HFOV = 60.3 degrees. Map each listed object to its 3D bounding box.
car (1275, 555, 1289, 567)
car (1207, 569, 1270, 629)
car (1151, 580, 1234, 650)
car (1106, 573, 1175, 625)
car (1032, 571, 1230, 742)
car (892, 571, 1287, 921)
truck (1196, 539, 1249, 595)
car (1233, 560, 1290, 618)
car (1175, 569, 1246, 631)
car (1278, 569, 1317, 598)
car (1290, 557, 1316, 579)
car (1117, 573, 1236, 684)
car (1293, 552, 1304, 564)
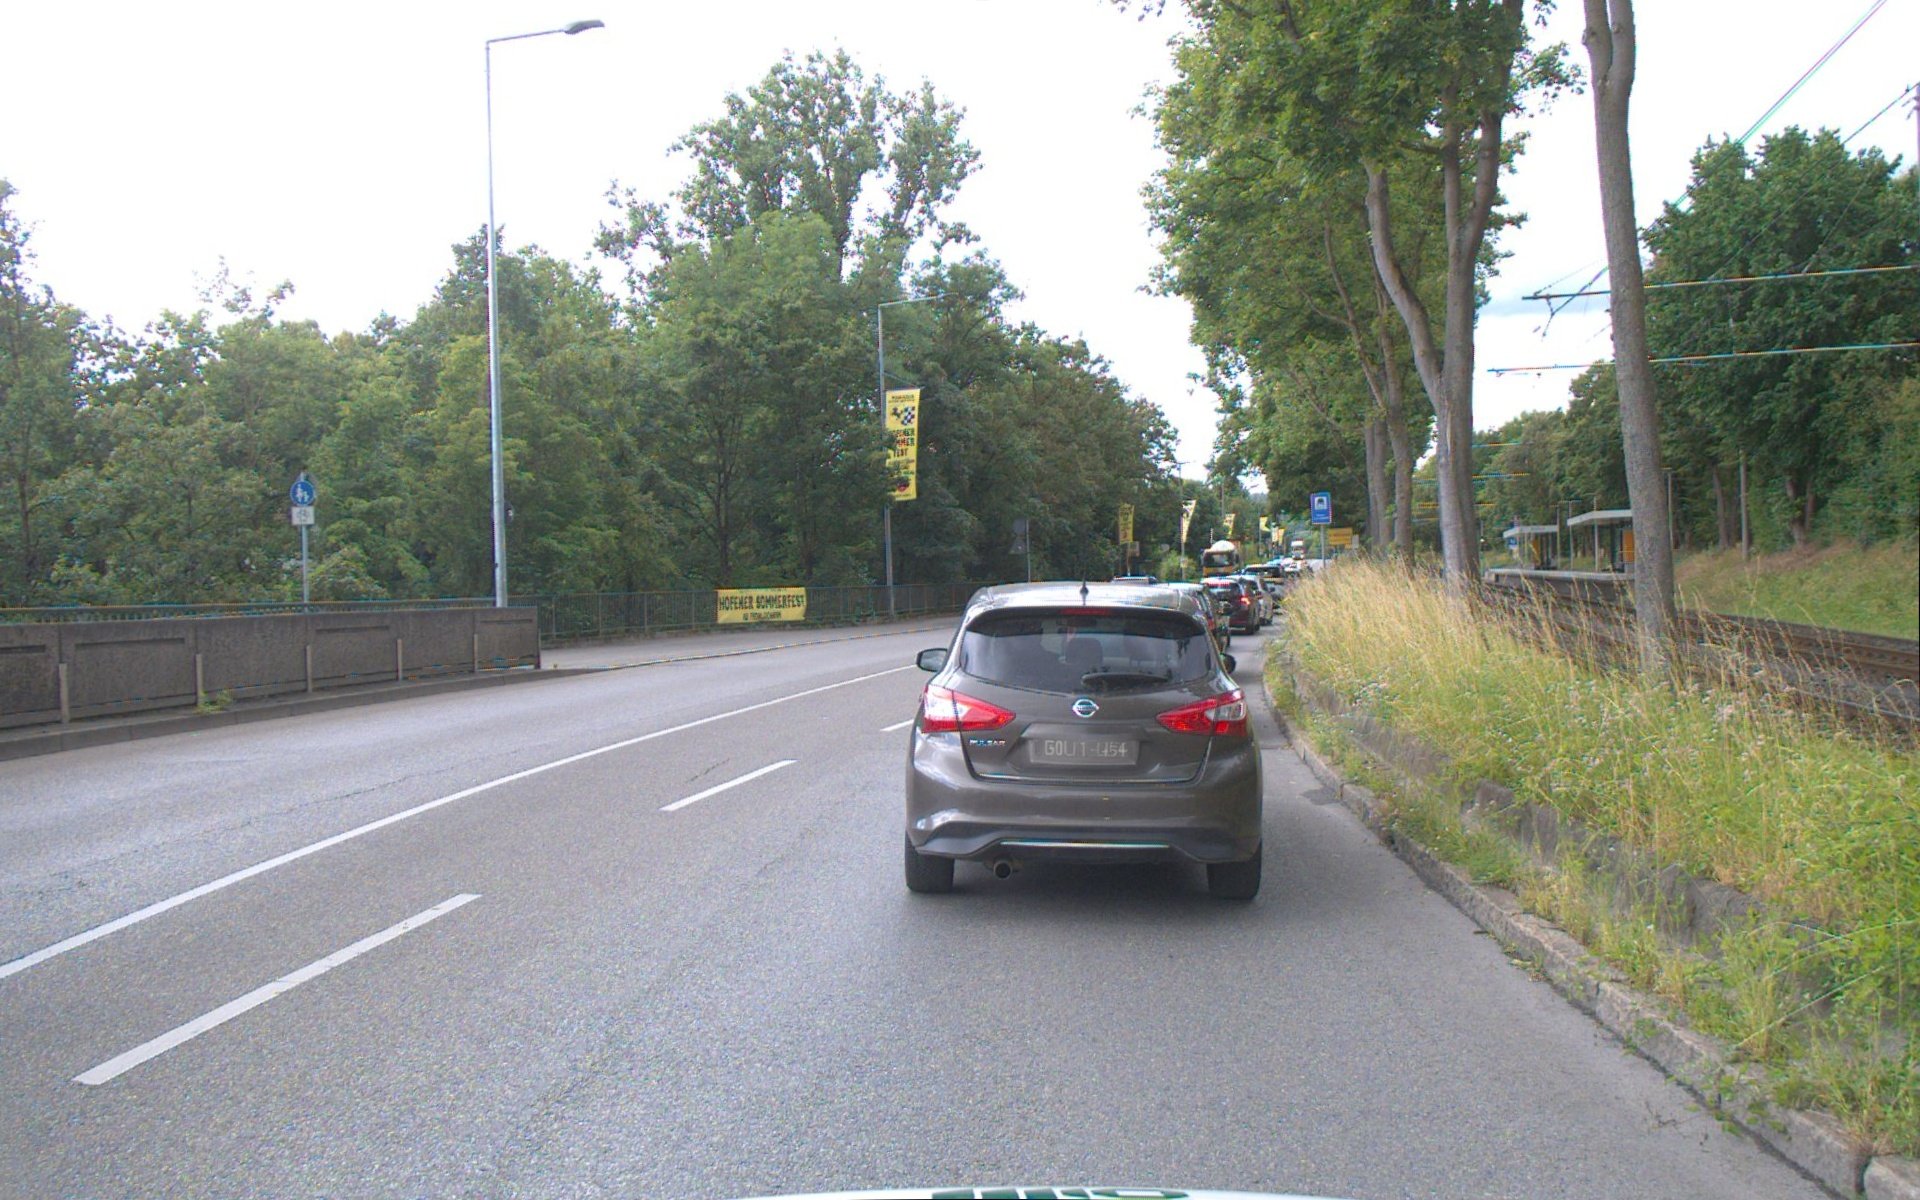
[{"bbox_3d":[43.255,-5.202,221.872,1.715,1.445,4.003,-2,-2,12],"label":"car"},{"bbox_3d":[8.568,0.011,50.631,1.681,1.723,4.003,-2,-2,12],"label":"car"},{"bbox_3d":[5.038,0.306,35.529,1.468,1.388,3.590,-2,0,12],"label":"car"},{"bbox_3d":[5.641,-0.017,51.283,1.812,1.512,4.424,-1,-1,10],"label":"car"},{"bbox_3d":[1.820,0.553,17.606,1.852,1.601,4.003,0,-1,6],"label":"car"},{"bbox_3d":[0.797,0.654,9.337,1.737,1.520,4.003,0,0,7],"label":"car"},{"bbox_3d":[19.739,-2.461,123.943,2.598,4.007,10.118,0,1,16],"label":"truck"},{"bbox_3d":[11.257,-0.413,61.518,1.850,2.049,4.003,-1,0,13],"label":"car"},{"bbox_3d":[6.642,0.002,43.655,1.766,1.567,4.003,1,0,9],"label":"car"},{"bbox_3d":[17.958,-0.883,87.895,1.850,1.470,3.810,-1,0,13],"label":"car"},{"bbox_3d":[27.419,-2.518,132.208,1.850,1.682,4.003,-1,0,13],"label":"car"},{"bbox_3d":[3.430,0.409,25.738,1.544,1.565,4.003,-2,0,11],"label":"car"},{"bbox_3d":[51.957,-6.431,253.867,1.681,1.723,3.728,-2,-2,12],"label":"car"}]
